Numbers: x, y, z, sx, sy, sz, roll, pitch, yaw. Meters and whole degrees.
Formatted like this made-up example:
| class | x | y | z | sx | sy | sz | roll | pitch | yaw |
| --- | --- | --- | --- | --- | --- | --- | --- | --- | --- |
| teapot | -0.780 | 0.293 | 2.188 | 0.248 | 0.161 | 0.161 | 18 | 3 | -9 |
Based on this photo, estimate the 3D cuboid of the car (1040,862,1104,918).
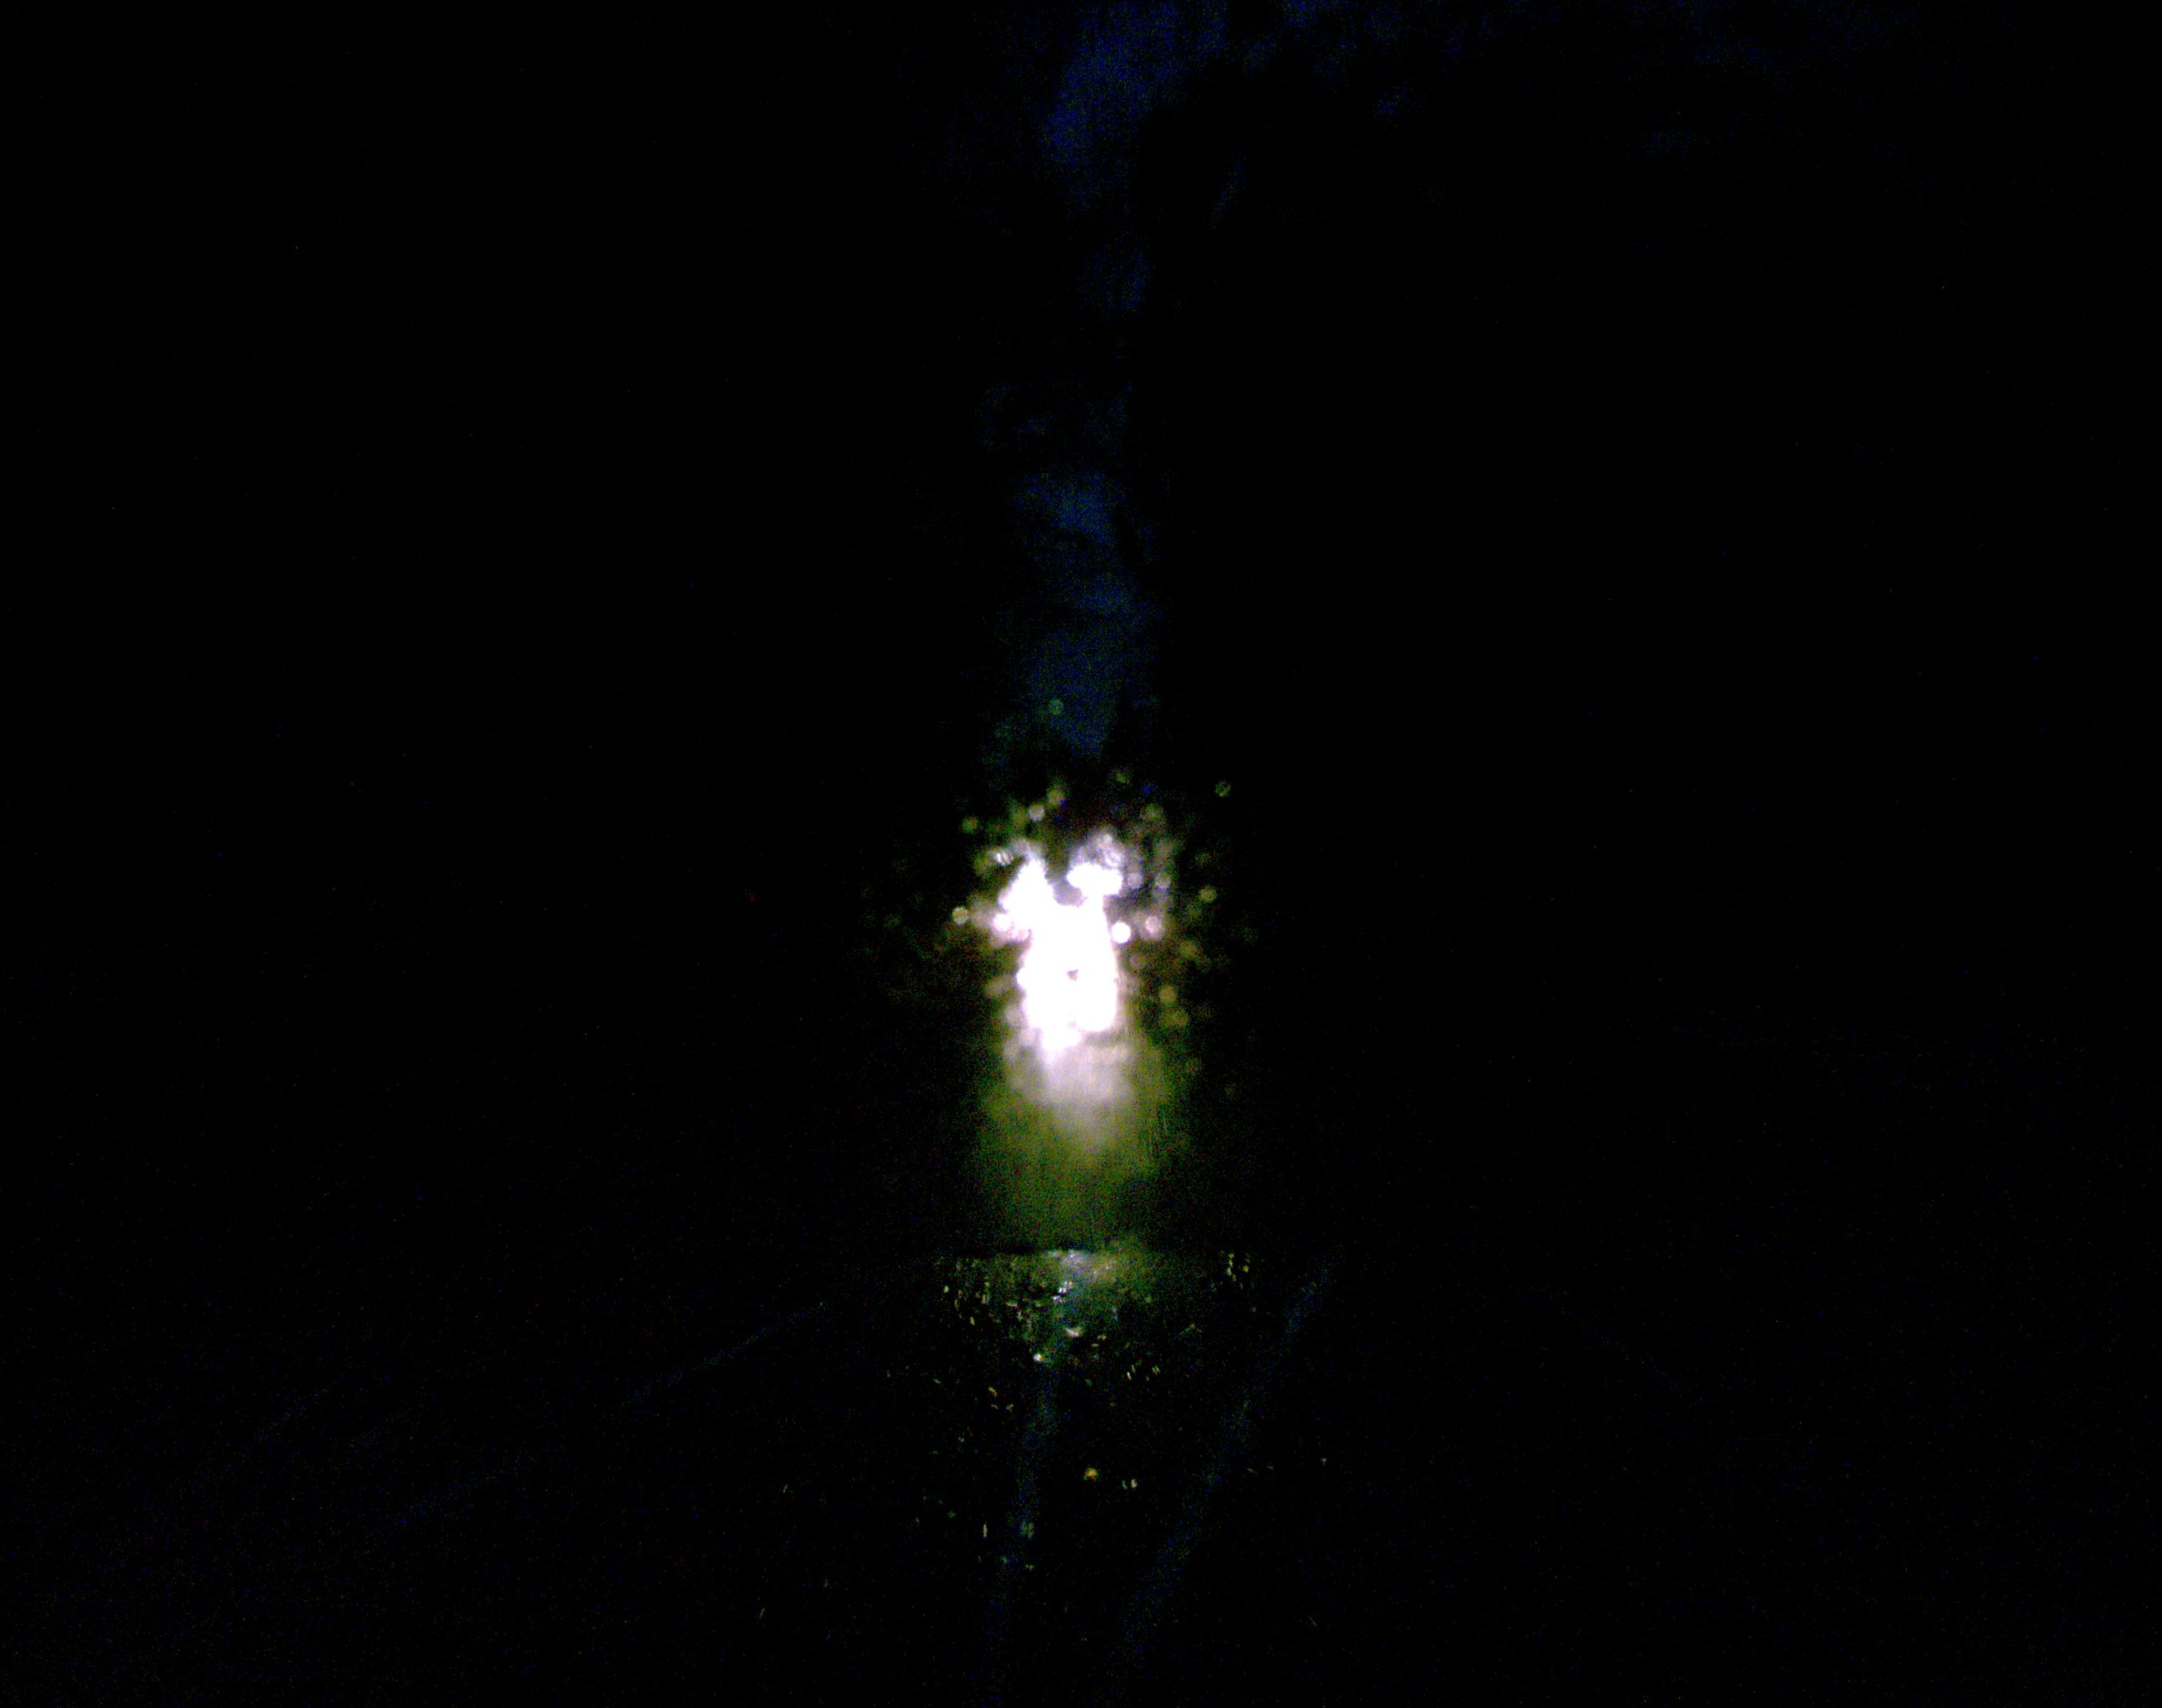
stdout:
| class | x | y | z | sx | sy | sz | roll | pitch | yaw |
| --- | --- | --- | --- | --- | --- | --- | --- | --- | --- |
| car | -0.204 | 1.009 | 22.605 | 1.649 | 1.446 | 3.681 | -2 | 0 | 3 |
